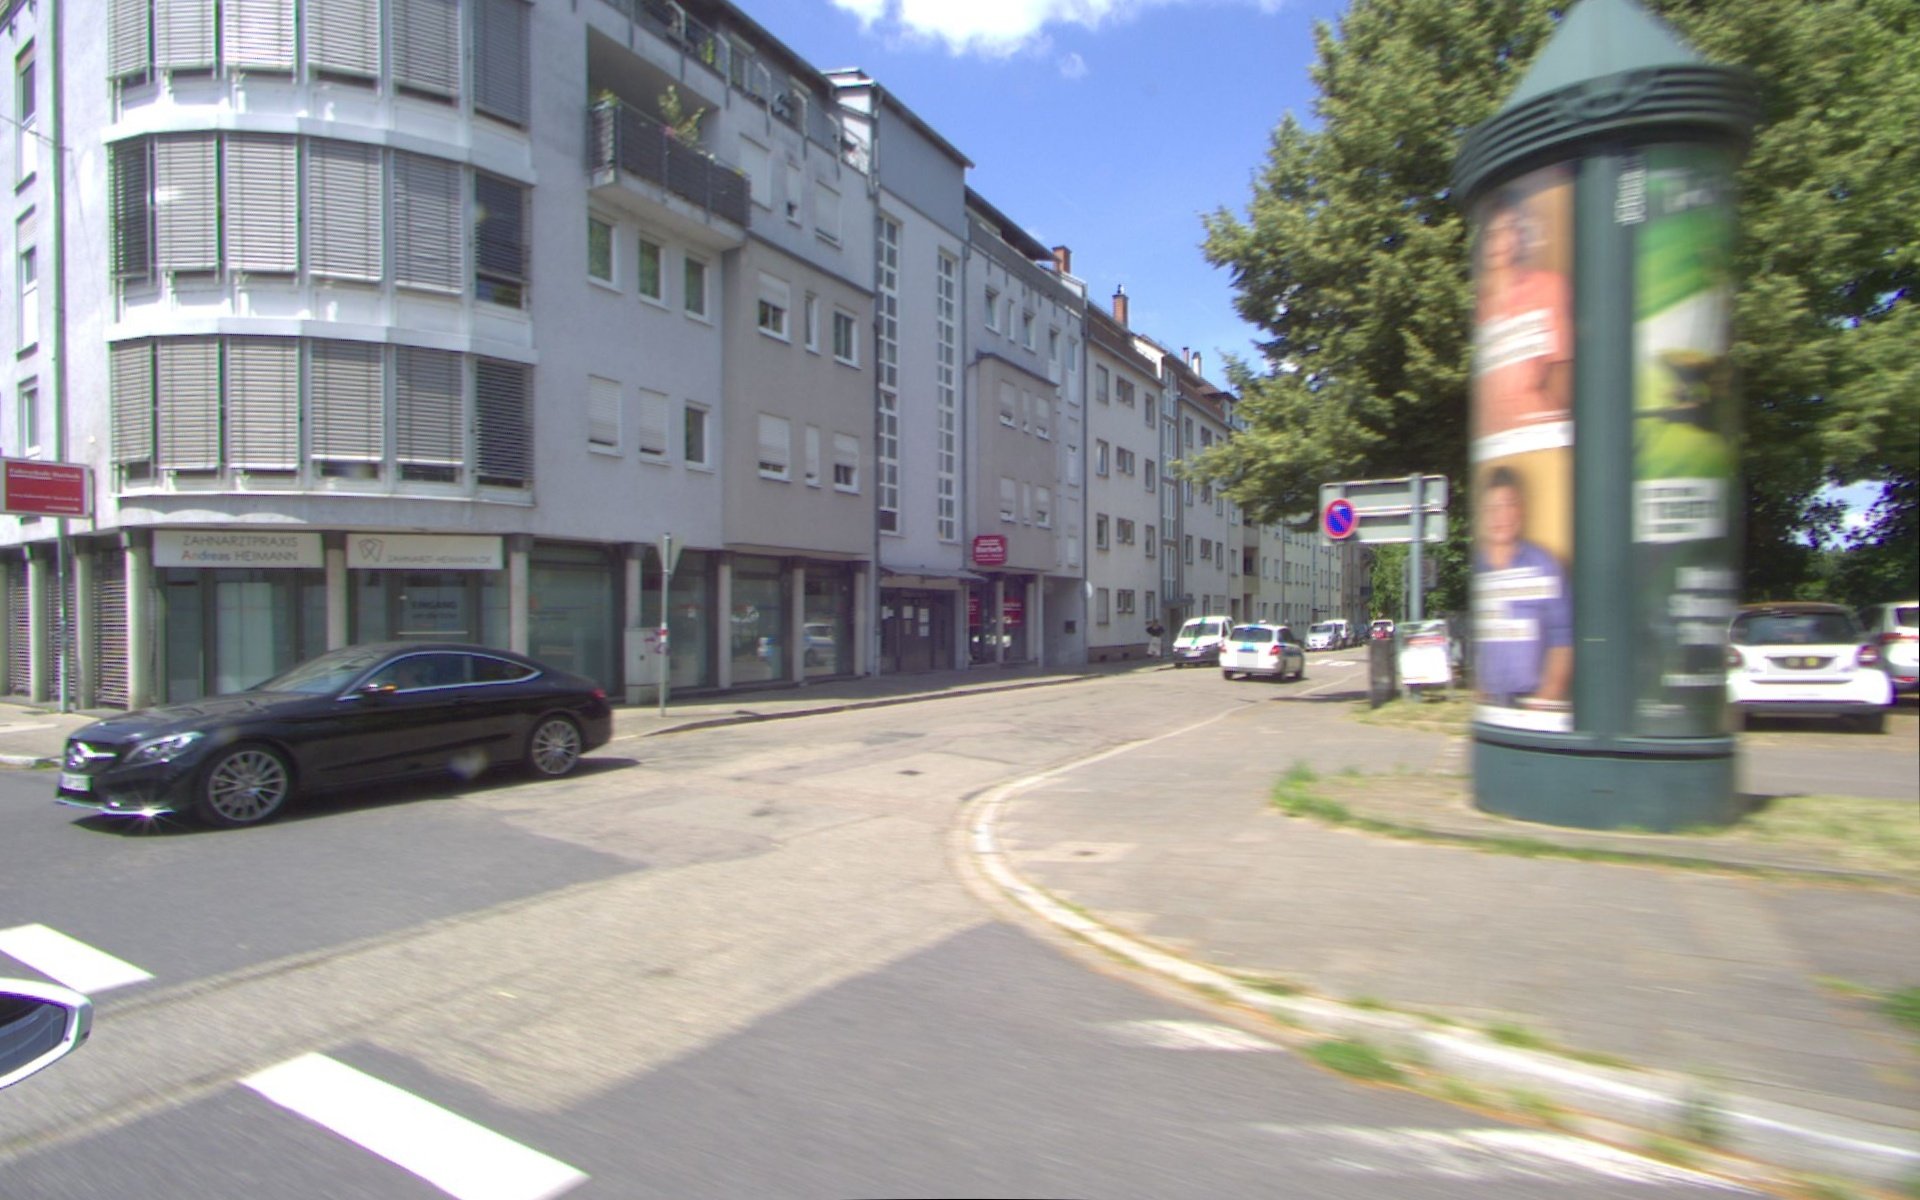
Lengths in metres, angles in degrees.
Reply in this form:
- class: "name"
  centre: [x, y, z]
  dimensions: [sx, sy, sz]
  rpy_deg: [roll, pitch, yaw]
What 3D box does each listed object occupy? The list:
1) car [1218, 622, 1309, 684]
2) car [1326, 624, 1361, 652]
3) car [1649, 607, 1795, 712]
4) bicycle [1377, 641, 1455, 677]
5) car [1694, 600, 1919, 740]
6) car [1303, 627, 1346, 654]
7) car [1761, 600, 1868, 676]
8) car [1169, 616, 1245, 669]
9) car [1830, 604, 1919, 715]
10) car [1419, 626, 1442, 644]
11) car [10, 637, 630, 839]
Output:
- class: "car"
  centre: [8.402, 1.409, 27.506]
  dimensions: [1.547, 1.574, 3.983]
  rpy_deg: [-1, -2, 30]
- class: "car"
  centre: [24.287, 2.389, 63.377]
  dimensions: [1.559, 1.682, 3.714]
  rpy_deg: [-1, -2, 29]
- class: "car"
  centre: [12.706, 0.926, 16.857]
  dimensions: [1.568, 1.574, 3.058]
  rpy_deg: [-1, -1, 30]
- class: "bicycle"
  centre: [13.343, 1.727, 29.342]
  dimensions: [0.697, 0.812, 1.910]
  rpy_deg: [0, -10, -37]
- class: "car"
  centre: [11.113, 0.808, 13.386]
  dimensions: [1.656, 1.574, 3.981]
  rpy_deg: [-1, -1, 30]
- class: "car"
  centre: [20.829, 2.287, 57.157]
  dimensions: [1.604, 1.453, 3.989]
  rpy_deg: [-2, -2, 30]
- class: "car"
  centre: [20.720, 0.900, 24.241]
  dimensions: [1.701, 1.689, 3.768]
  rpy_deg: [-2, -2, 44]
- class: "car"
  centre: [9.049, 1.549, 36.438]
  dimensions: [1.603, 1.756, 4.369]
  rpy_deg: [-3, -3, 28]
- class: "car"
  centre: [15.030, 0.866, 15.630]
  dimensions: [1.568, 1.574, 3.375]
  rpy_deg: [-1, -1, 30]
- class: "car"
  centre: [45.026, 3.374, 95.797]
  dimensions: [1.581, 1.717, 3.981]
  rpy_deg: [-1, -2, 32]
- class: "car"
  centre: [-5.607, 1.055, 9.484]
  dimensions: [1.971, 1.383, 4.576]
  rpy_deg: [-1, -2, 30]
